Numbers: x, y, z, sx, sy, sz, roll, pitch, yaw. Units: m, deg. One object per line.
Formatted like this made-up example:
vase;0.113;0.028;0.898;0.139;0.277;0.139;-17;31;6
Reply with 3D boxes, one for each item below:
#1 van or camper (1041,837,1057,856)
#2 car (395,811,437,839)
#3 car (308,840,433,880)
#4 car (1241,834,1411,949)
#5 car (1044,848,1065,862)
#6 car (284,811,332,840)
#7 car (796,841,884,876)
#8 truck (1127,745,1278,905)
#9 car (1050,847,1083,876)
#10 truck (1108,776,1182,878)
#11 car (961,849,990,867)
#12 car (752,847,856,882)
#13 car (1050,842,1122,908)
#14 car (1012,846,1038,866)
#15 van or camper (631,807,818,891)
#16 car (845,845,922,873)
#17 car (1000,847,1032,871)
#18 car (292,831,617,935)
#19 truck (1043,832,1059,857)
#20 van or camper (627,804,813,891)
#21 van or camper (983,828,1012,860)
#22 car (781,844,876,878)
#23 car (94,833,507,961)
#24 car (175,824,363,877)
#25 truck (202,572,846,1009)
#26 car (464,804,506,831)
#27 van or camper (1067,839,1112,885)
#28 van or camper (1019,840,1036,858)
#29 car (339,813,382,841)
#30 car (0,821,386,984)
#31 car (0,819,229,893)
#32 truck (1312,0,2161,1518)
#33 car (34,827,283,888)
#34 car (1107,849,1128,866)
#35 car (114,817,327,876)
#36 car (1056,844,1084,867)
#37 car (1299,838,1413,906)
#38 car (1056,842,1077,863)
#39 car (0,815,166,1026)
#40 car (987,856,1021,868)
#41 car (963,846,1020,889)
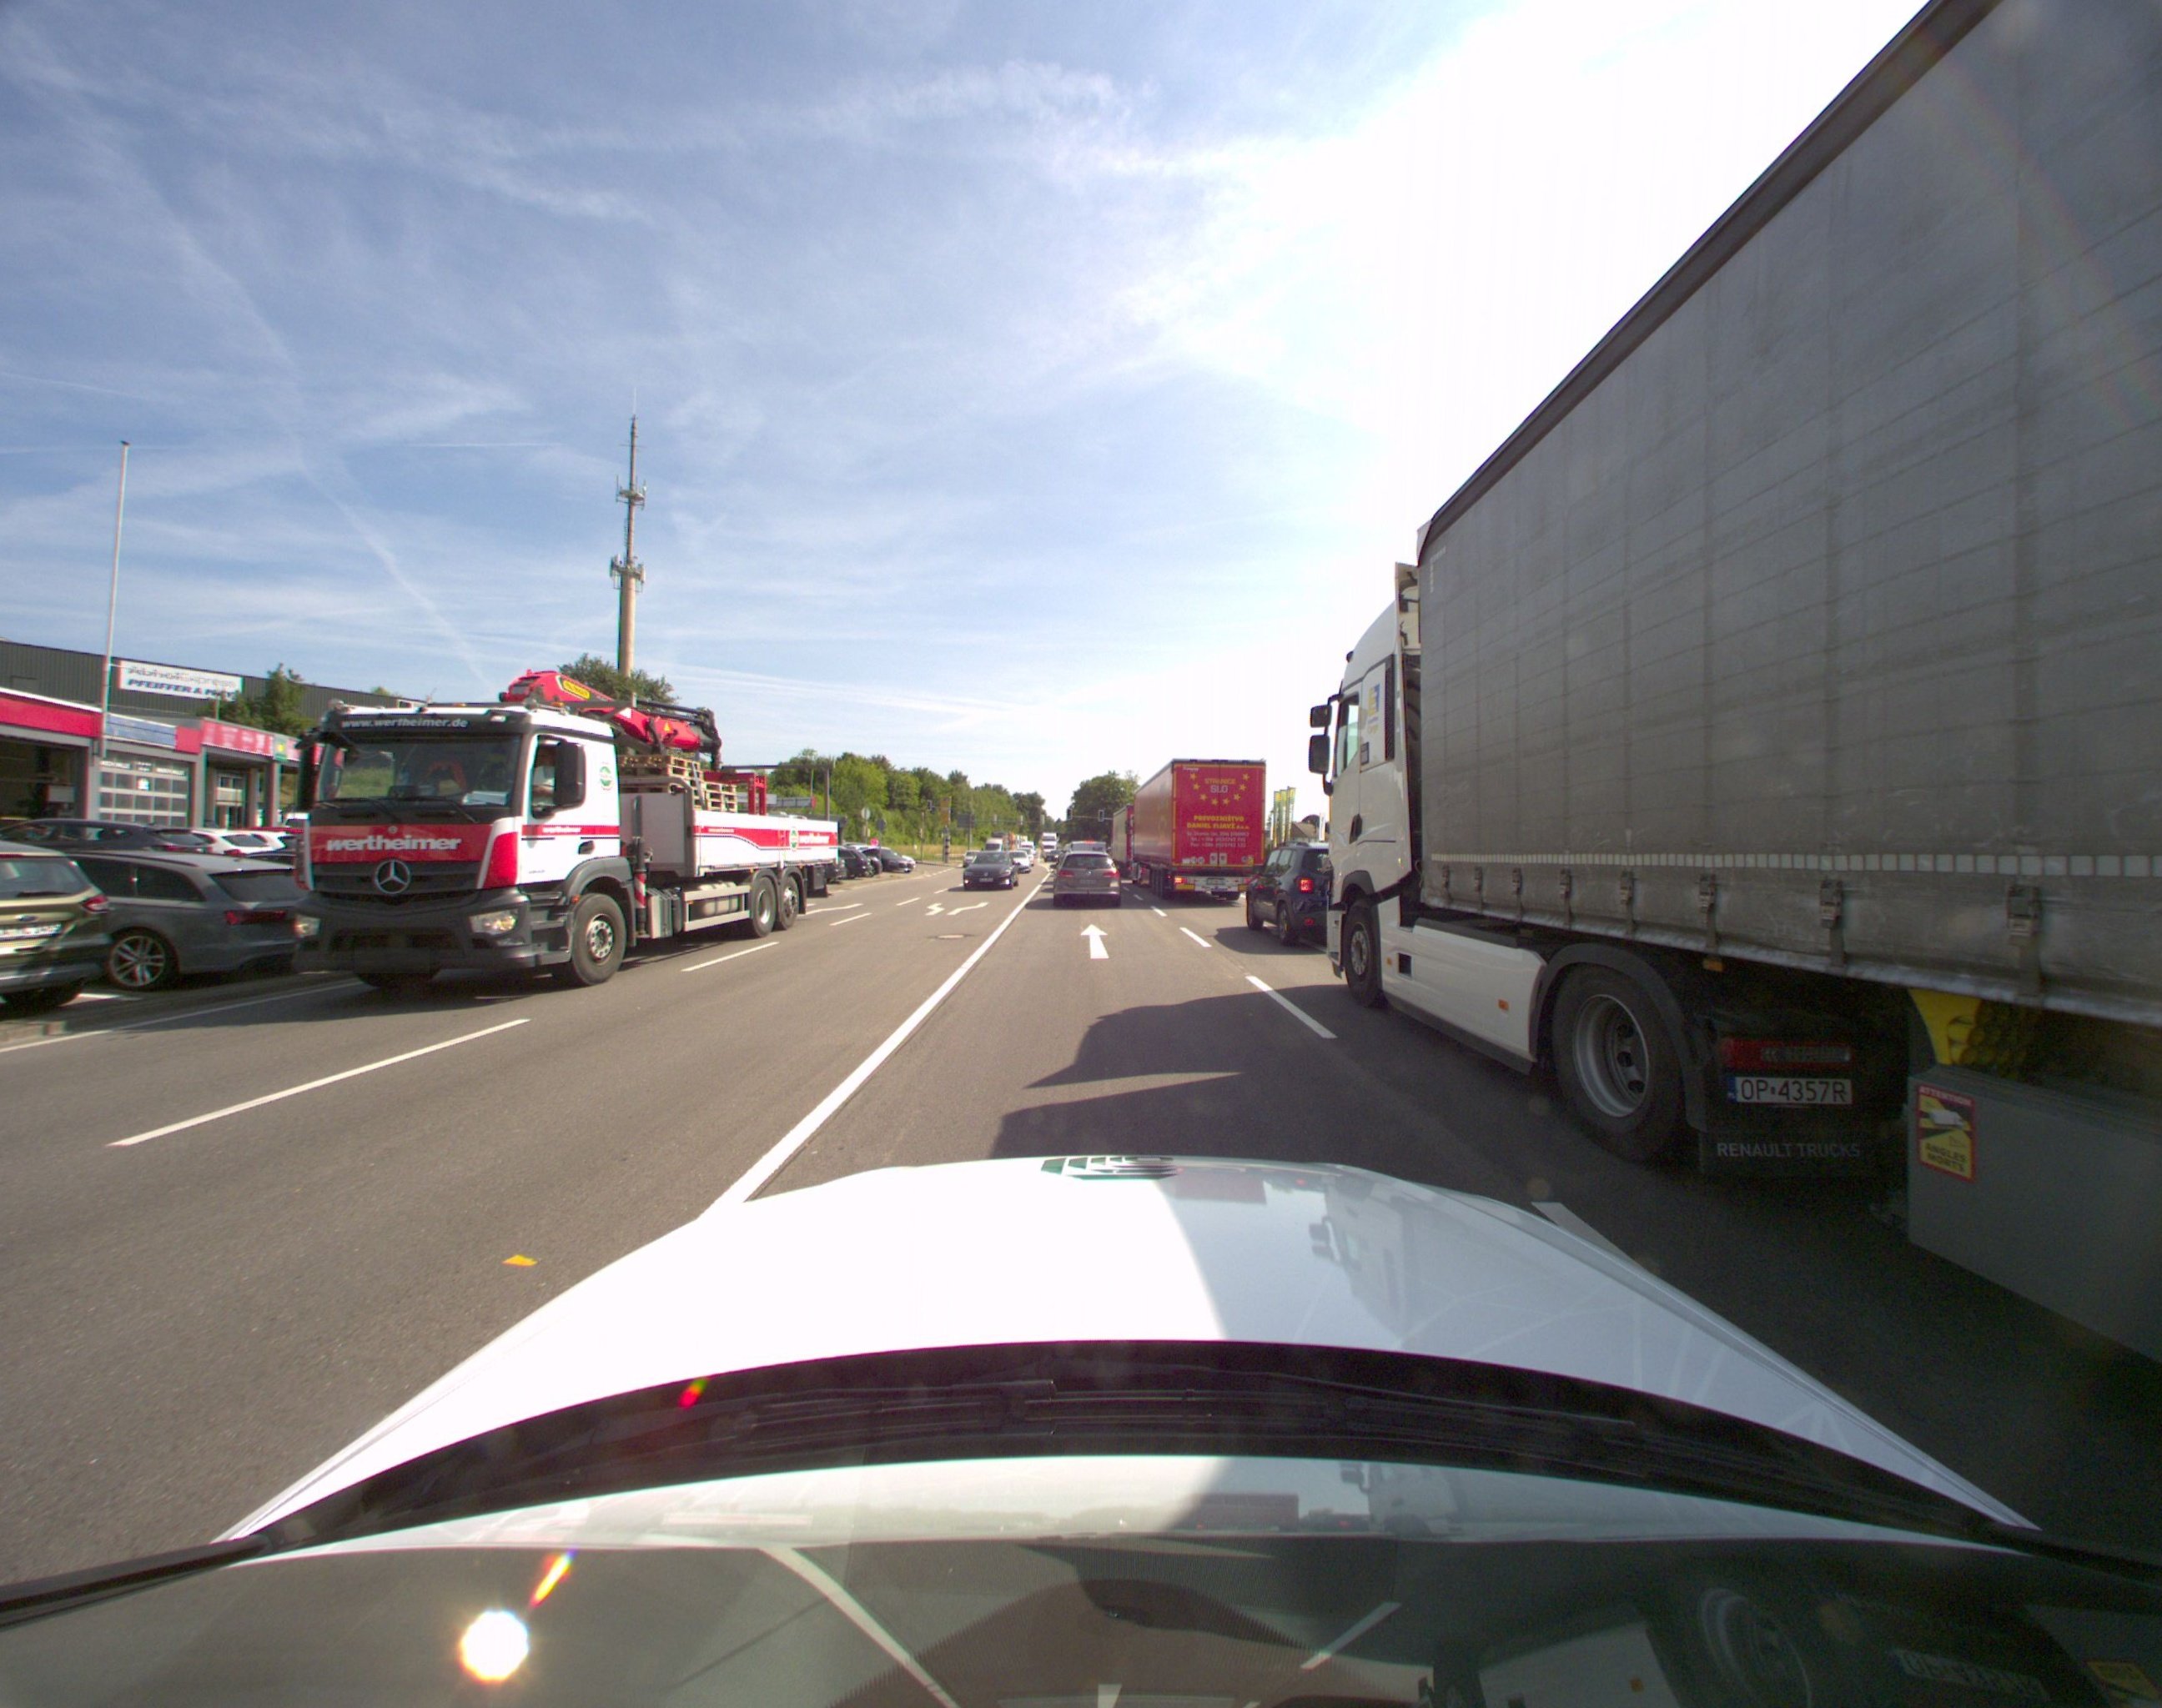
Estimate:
van or camper;-5.024;-1.123;128.622;2.217;2.840;5.708;1;0;-1
car;-39.260;-1.674;48.031;1.745;1.537;3.704;2;-1;-41
car;-29.142;0.220;33.450;3.796;1.588;1.773;0;0;7
car;4.020;0.541;14.037;1.812;1.685;4.001;0;0;1
car;-2.901;0.098;90.935;1.657;1.409;3.934;-1;0;8
car;-42.358;-1.553;44.674;1.745;1.450;3.704;2;-1;-41
car;-11.854;0.218;40.285;3.806;1.675;1.841;0;0;-2
truck;3.749;-0.843;30.309;2.948;4.269;16.579;1;0;0
car;-0.771;0.425;46.254;1.721;1.519;3.312;1;0;1
truck;3.624;-1.438;50.779;3.053;5.220;17.002;1;0;0
car;-8.822;0.307;68.362;1.830;1.448;4.081;0;0;1
car;-11.858;0.452;35.015;3.806;1.448;1.841;0;0;-2
car;0.204;0.510;22.034;1.783;1.638;3.506;0;0;3
car;-4.891;0.149;71.850;1.903;1.663;4.181;-1;0;1
van or camper;-13.145;-0.195;30.314;5.874;2.873;2.289;1;1;-1
car;-12.350;0.283;50.972;4.470;1.693;2.145;0;0;32
car;-4.216;0.320;53.527;1.904;1.521;4.777;0;0;-2
car;-11.389;0.505;15.064;4.448;1.484;1.770;4;0;-3
truck;-5.230;-1.644;142.949;2.545;4.307;7.593;0;0;-1
van or camper;-12.104;-0.209;27.603;5.227;2.731;2.211;1;0;0
van or camper;-8.763;-1.011;85.955;2.200;3.055;5.903;5;0;0
car;-11.699;0.302;37.877;3.806;1.539;1.841;0;0;-2
car;-11.567;0.608;12.326;4.288;1.484;1.797;4;0;-3
car;-25.770;-0.109;26.022;3.833;1.588;1.755;0;0;-24
truck;-6.979;-0.654;13.279;2.946;4.209;10.648;-1;0;1
car;-36.679;-2.215;50.086;1.745;1.450;3.704;2;-1;-41
van or camper;0.333;0.319;36.316;1.847;1.905;3.783;1;0;-1
van or camper;-7.753;-0.752;117.598;2.167;2.551;4.169;1;0;-1
car;-40.828;-1.505;46.180;1.745;1.450;3.704;2;-1;-41
car;-11.317;0.503;9.710;4.266;1.484;1.835;4;0;-3
car;-22.102;0.035;18.119;3.955;1.532;1.755;0;0;-24
truck;3.742;-0.692;0.775;2.879;4.266;16.718;1;0;2
car;-23.516;0.083;20.972;3.833;1.431;1.755;0;0;-24
car;3.346;0.330;75.465;1.722;1.519;3.310;2;-1;-1
car;-24.775;-0.197;23.637;3.833;1.588;1.755;0;0;-24
car;-0.694;0.111;54.663;1.720;1.519;3.313;1;0;2
car;7.332;0.430;22.110;1.812;1.685;4.001;0;0;1
car;-1.375;-0.113;77.274;1.720;1.909;3.314;1;-1;3
car;-11.030;0.452;7.064;3.876;1.716;1.805;4;0;-3
car;-9.320;0.936;98.729;1.696;1.448;4.106;0;0;40
car;-3.410;0.473;31.778;1.801;1.560;4.385;0;0;-1
